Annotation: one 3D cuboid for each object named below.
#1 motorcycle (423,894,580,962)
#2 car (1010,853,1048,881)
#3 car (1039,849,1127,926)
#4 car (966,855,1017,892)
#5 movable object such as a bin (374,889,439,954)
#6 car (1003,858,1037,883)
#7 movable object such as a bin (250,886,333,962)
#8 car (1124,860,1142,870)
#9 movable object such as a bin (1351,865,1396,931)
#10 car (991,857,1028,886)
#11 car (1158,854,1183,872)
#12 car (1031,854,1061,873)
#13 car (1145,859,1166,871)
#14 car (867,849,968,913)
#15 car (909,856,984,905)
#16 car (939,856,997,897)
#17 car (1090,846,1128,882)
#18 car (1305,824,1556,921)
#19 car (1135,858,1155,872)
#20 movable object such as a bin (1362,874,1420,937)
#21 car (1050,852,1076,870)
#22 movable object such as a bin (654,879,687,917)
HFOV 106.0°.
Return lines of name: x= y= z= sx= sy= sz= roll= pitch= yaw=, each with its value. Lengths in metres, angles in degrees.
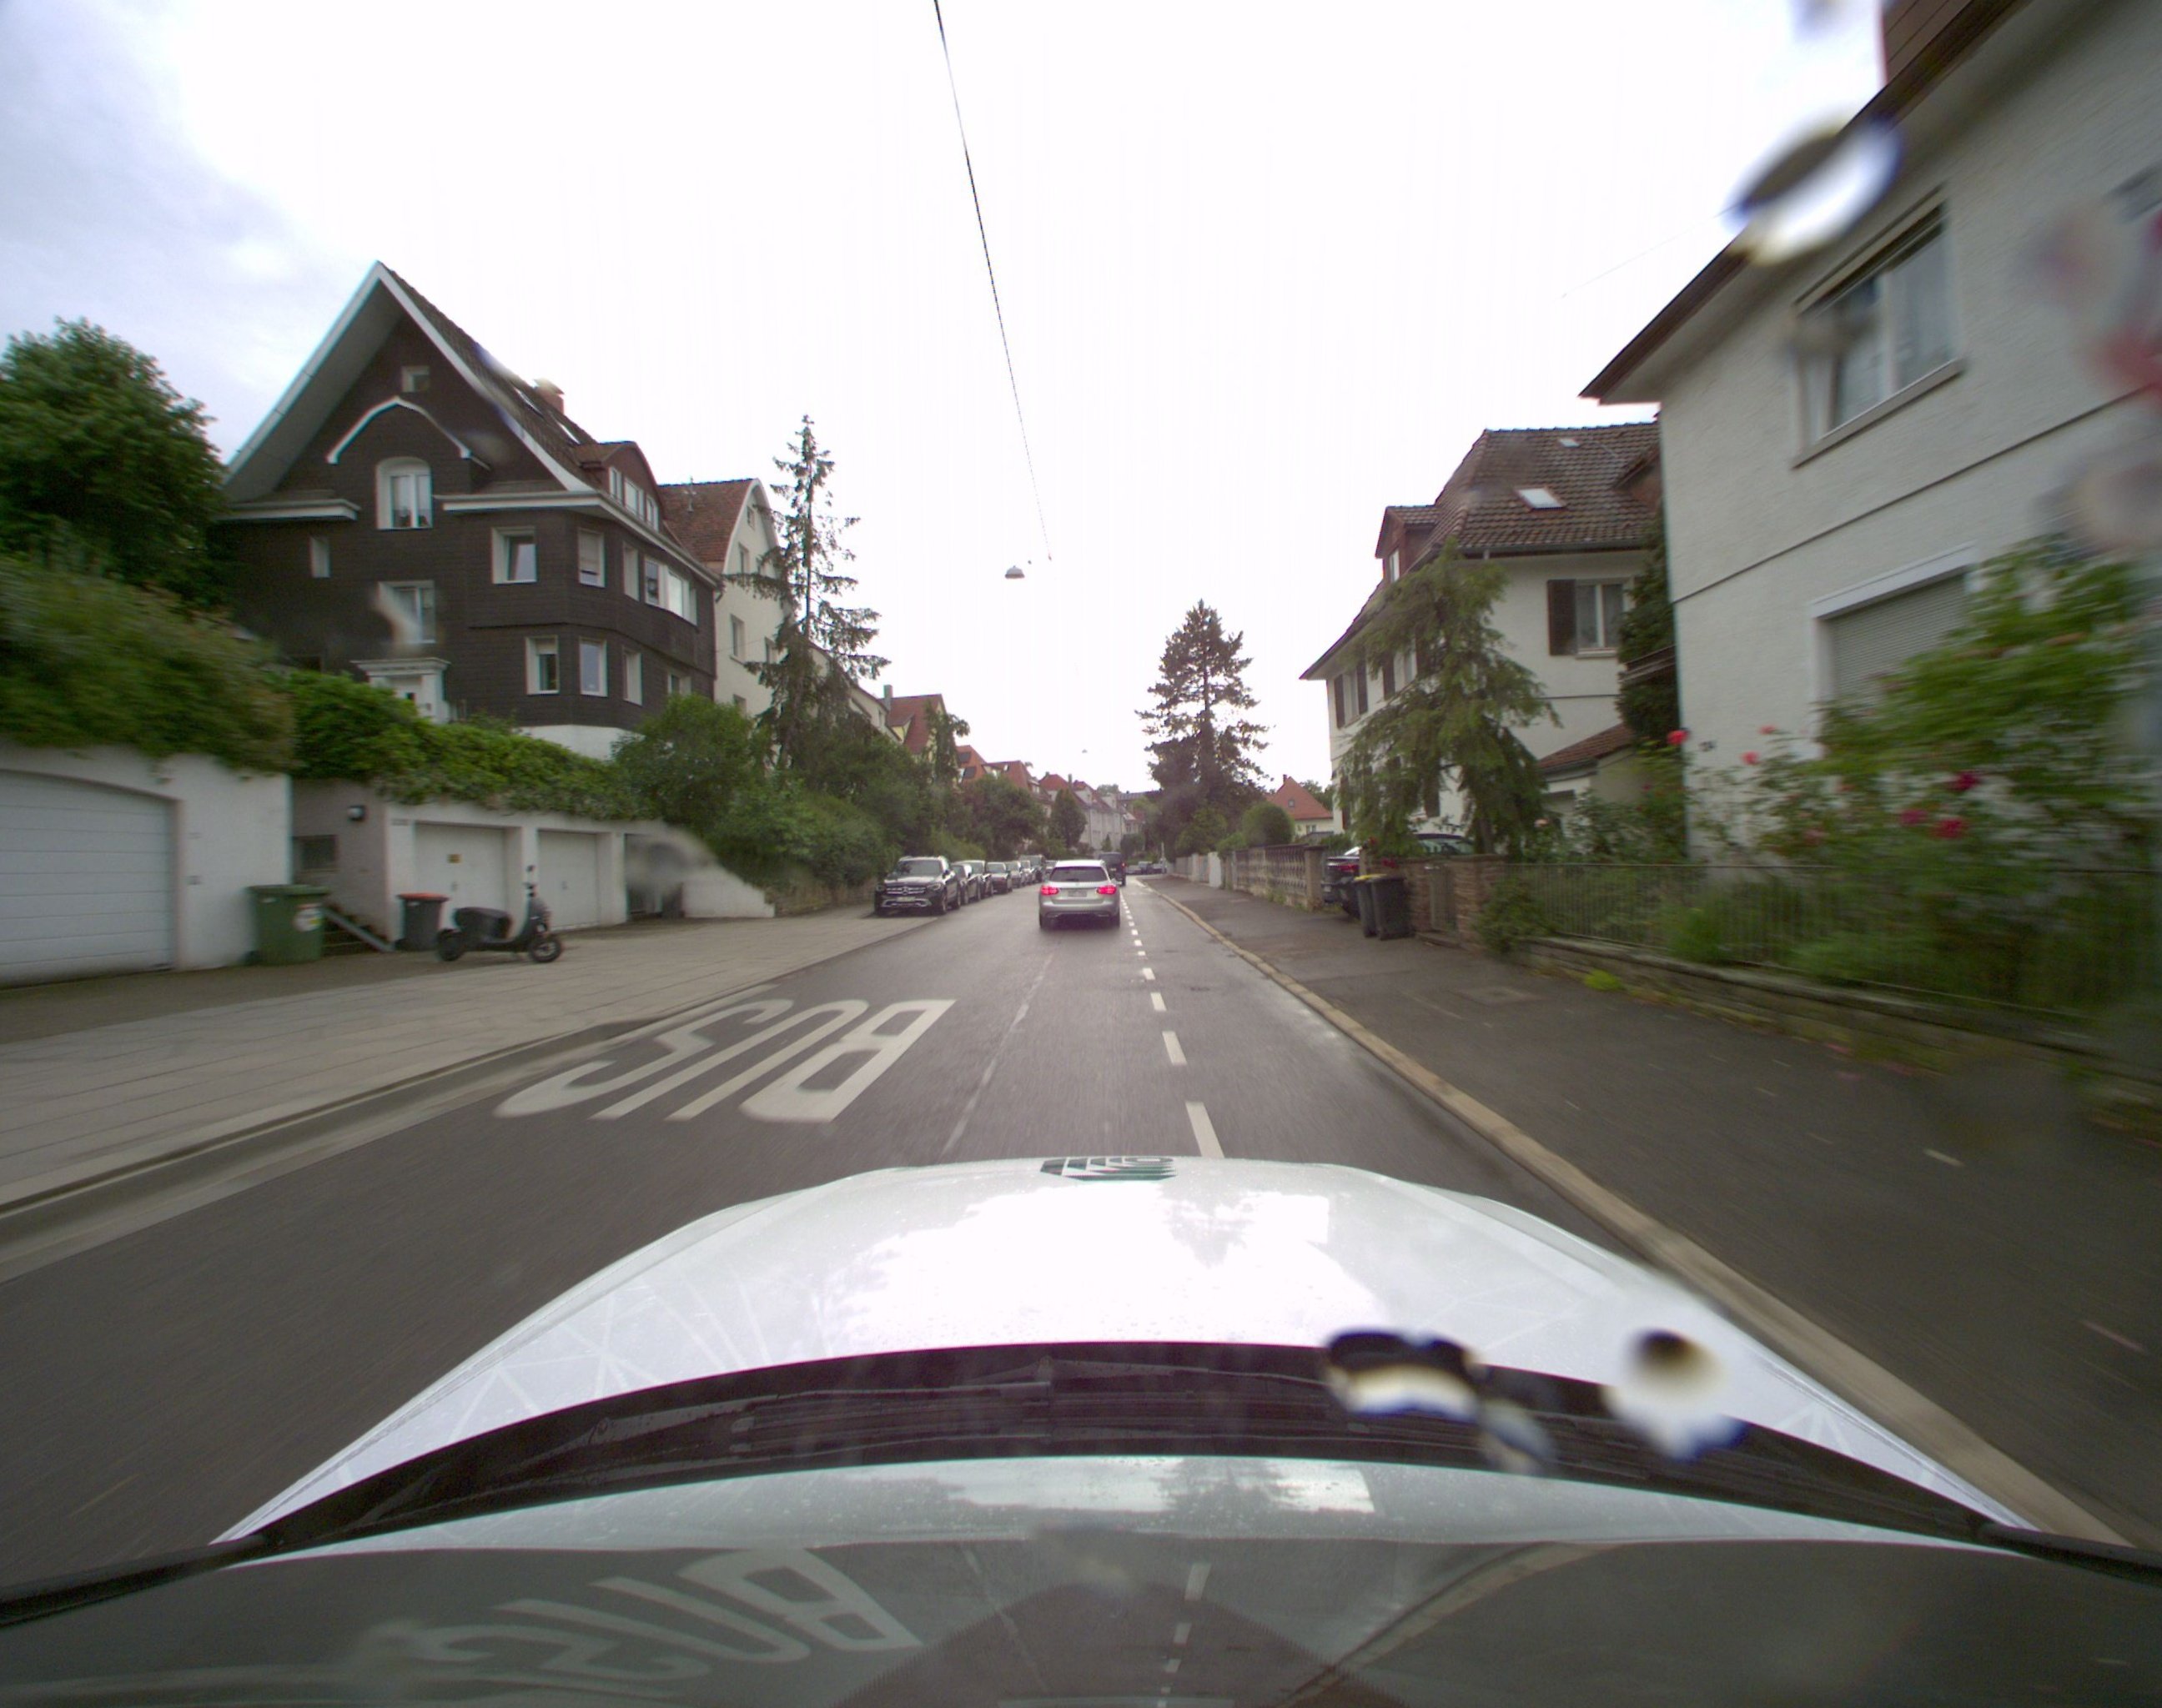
motorcycle: x=-8.233 y=1.040 z=11.613 sx=1.788 sy=0.903 sz=0.603 roll=1 pitch=0 yaw=1
car: x=-3.597 y=0.872 z=57.215 sx=1.985 sy=1.878 sz=5.360 roll=-1 pitch=0 yaw=3
car: x=0.021 y=0.696 z=18.833 sx=1.811 sy=1.556 sz=3.998 roll=-1 pitch=0 yaw=-1
car: x=-4.086 y=0.864 z=37.889 sx=1.749 sy=1.446 sz=4.418 roll=-1 pitch=1 yaw=1
movable object such as a bin: x=-10.655 y=1.063 z=12.878 sx=0.572 sy=0.953 sz=0.512 roll=-1 pitch=1 yaw=-3
car: x=-3.791 y=1.007 z=51.203 sx=1.687 sy=1.447 sz=3.816 roll=-2 pitch=0 yaw=2
movable object such as a bin: x=-10.677 y=0.936 z=11.033 sx=0.572 sy=0.953 sz=0.512 roll=-1 pitch=1 yaw=-3
car: x=7.693 y=1.622 z=120.352 sx=1.631 sy=1.417 sz=4.632 roll=-1 pitch=0 yaw=16
movable object such as a bin: x=4.469 y=0.663 z=12.462 sx=0.492 sy=0.955 sz=0.503 roll=-1 pitch=1 yaw=0
car: x=-3.987 y=0.950 z=45.809 sx=1.640 sy=1.446 sz=3.629 roll=-1 pitch=1 yaw=1
car: x=15.298 y=1.473 z=138.914 sx=2.370 sy=2.772 sz=6.567 roll=-1 pitch=1 yaw=22
car: x=-2.927 y=0.784 z=70.057 sx=1.984 sy=1.580 sz=4.767 roll=1 pitch=0 yaw=4
car: x=12.104 y=1.753 z=131.831 sx=1.976 sy=1.688 sz=4.702 roll=-1 pitch=2 yaw=22
car: x=-4.584 y=0.706 z=23.481 sx=1.886 sy=1.622 sz=4.380 roll=-1 pitch=0 yaw=1
car: x=-4.668 y=0.885 z=28.769 sx=1.886 sy=1.446 sz=3.815 roll=-1 pitch=1 yaw=1
car: x=-4.533 y=0.870 z=33.187 sx=1.690 sy=1.541 sz=3.815 roll=-1 pitch=0 yaw=1
car: x=1.635 y=0.582 z=46.273 sx=1.833 sy=1.904 sz=4.006 roll=-1 pitch=-1 yaw=6
car: x=6.497 y=0.308 z=15.501 sx=3.972 sy=1.639 sz=1.919 roll=-1 pitch=1 yaw=1
car: x=9.818 y=1.683 z=125.079 sx=1.814 sy=2.056 sz=5.034 roll=-1 pitch=-1 yaw=19
movable object such as a bin: x=4.513 y=0.738 z=11.894 sx=0.649 sy=0.855 sz=0.503 roll=-1 pitch=1 yaw=-1
car: x=-1.727 y=0.717 z=80.309 sx=1.983 sy=1.702 sz=4.747 roll=1 pitch=0 yaw=6
movable object such as a bin: x=-10.419 y=1.102 z=20.675 sx=0.625 sy=0.889 sz=0.482 roll=-3 pitch=2 yaw=-43
